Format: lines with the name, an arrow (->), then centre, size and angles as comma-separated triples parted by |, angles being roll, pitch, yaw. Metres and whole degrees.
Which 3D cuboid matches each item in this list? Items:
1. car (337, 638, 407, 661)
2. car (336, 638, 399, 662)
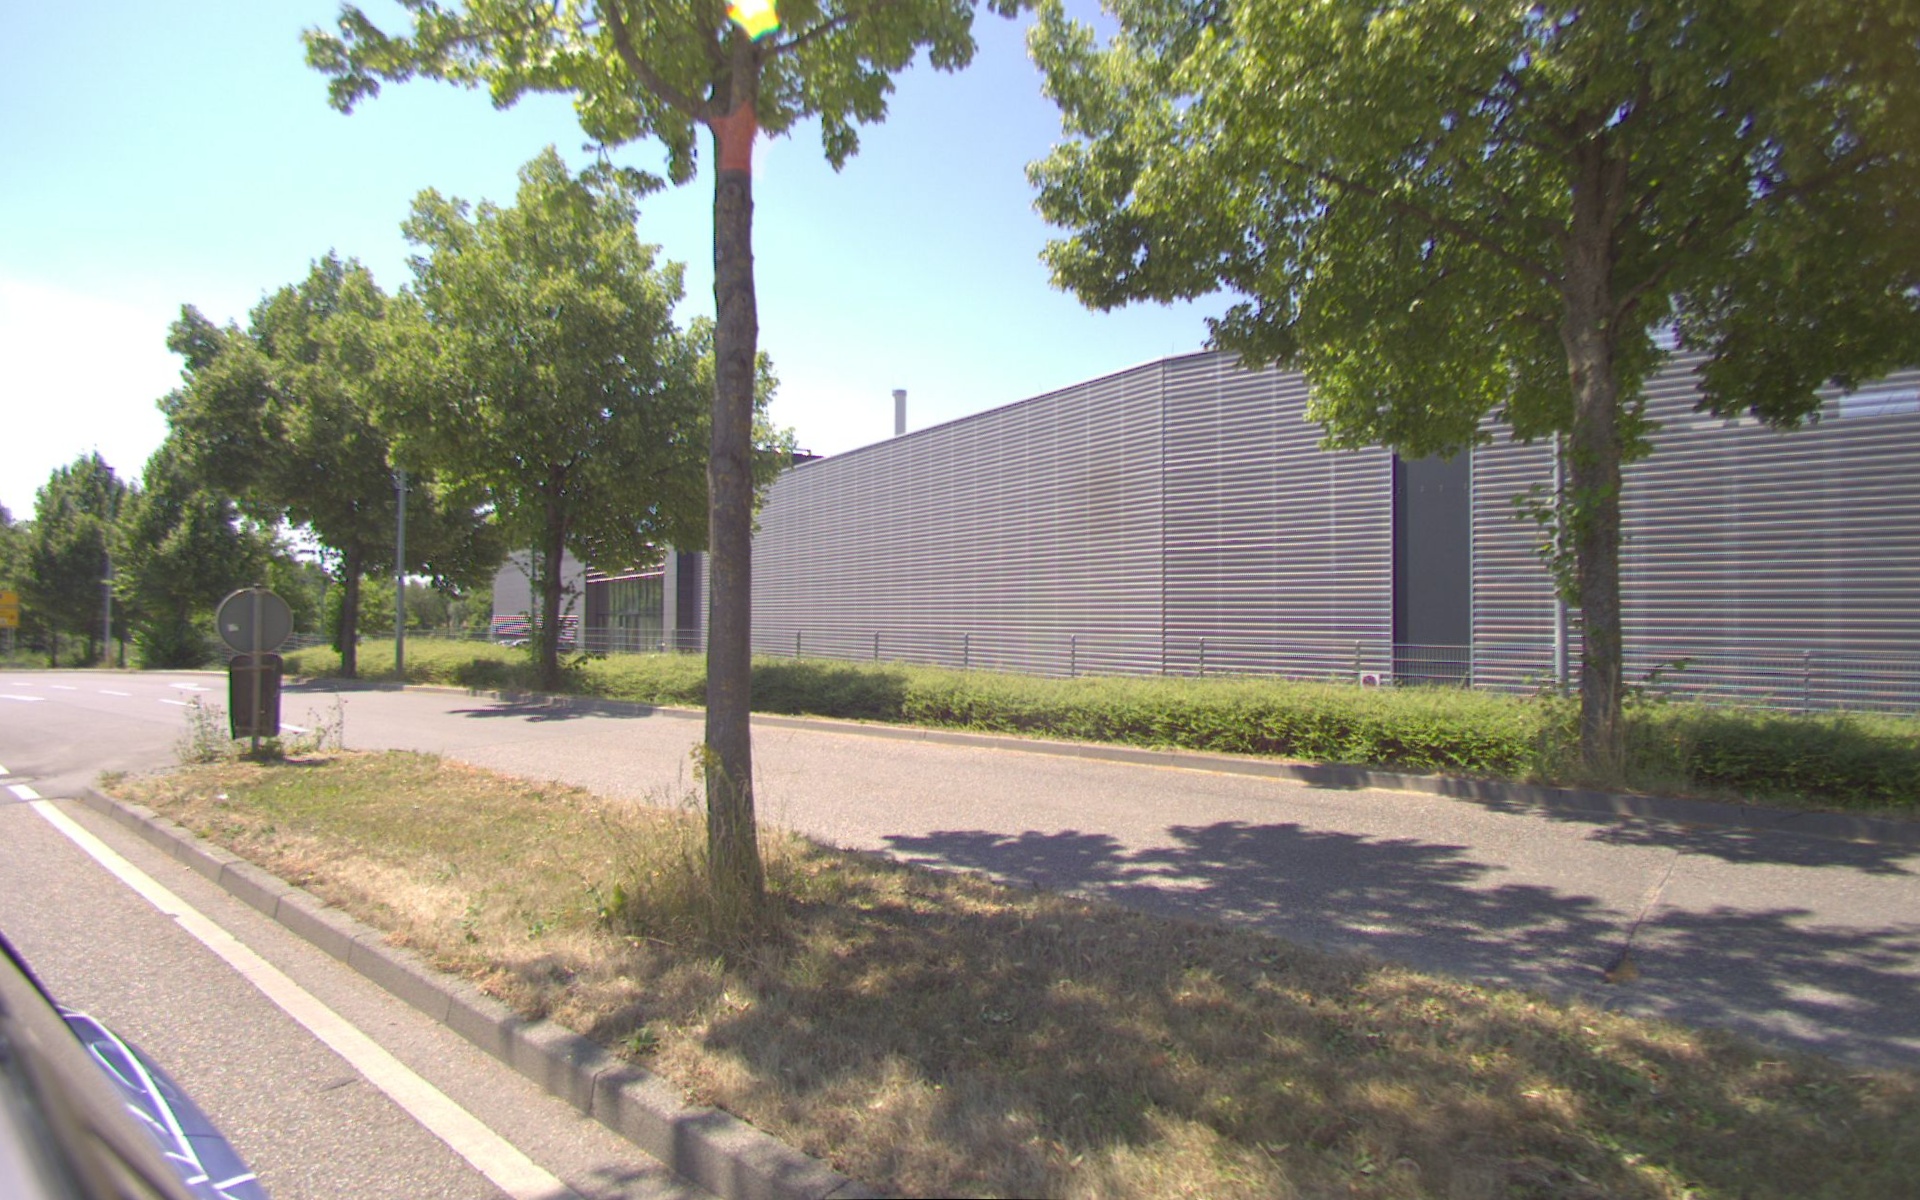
car -> -40.786, 3.471, 70.251 | 3.935, 1.497, 2.004 | 2, -6, -38
car -> -45.489, 3.839, 77.686 | 3.935, 1.719, 2.004 | 2, -6, -38
